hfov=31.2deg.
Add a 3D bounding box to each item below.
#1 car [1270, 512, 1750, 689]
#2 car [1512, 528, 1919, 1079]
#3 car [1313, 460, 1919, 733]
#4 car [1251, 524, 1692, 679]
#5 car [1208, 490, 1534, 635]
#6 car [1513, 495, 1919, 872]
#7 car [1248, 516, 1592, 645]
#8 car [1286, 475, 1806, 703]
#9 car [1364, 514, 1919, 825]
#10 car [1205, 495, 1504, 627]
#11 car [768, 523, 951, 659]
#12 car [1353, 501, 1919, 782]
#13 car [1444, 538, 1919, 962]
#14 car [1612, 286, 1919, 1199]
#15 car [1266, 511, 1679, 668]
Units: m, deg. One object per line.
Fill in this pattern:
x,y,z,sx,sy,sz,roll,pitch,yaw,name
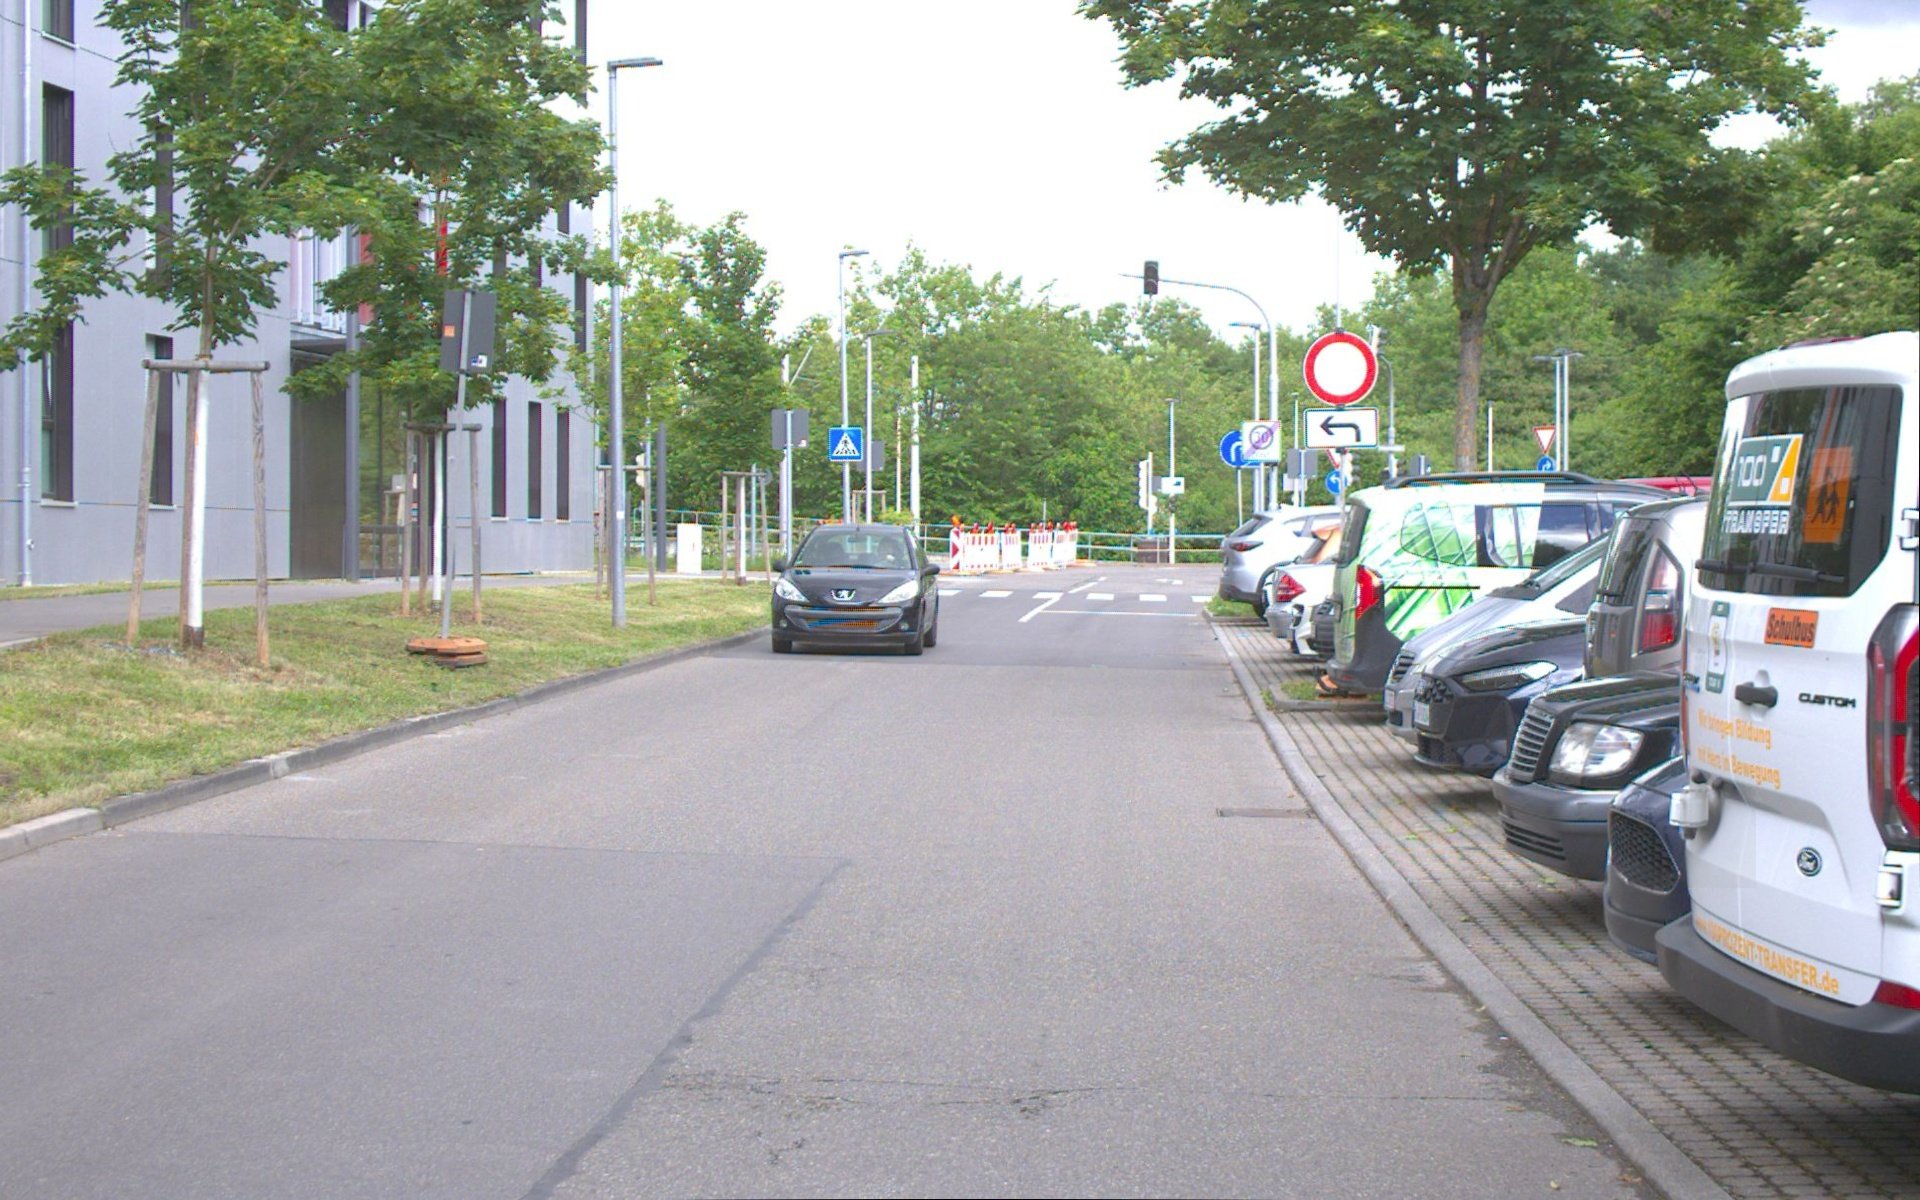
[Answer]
5.315,-0.009,33.675,4.379,1.568,1.916,2,1,1,car
4.185,0.527,10.528,4.703,1.511,1.847,-1,2,2,car
4.920,-0.050,25.701,4.379,1.897,1.916,-1,2,2,car
5.353,-0.007,36.410,4.379,1.470,1.916,2,2,1,car
5.774,-0.550,48.756,4.379,1.897,1.916,2,2,1,car
4.721,0.317,15.787,4.065,1.603,1.892,-1,2,2,car
6.144,-0.276,46.308,4.379,1.576,1.916,2,2,1,car
5.253,-0.128,31.273,4.379,1.897,1.936,2,2,1,car
4.666,0.305,18.308,4.725,1.493,2.112,-1,2,-1,car
6.044,-0.620,53.098,4.379,1.897,1.916,2,2,1,car
-1.079,-0.144,38.682,1.609,1.383,4.000,2,2,4,car
4.683,0.209,20.908,4.379,1.571,1.916,-1,2,2,car
4.311,0.488,12.973,4.724,1.429,2.057,-1,2,3,car
4.211,0.275,8.018,4.972,1.965,1.847,-1,2,-2,car
5.752,-0.144,39.008,4.379,1.612,1.916,2,2,1,car
